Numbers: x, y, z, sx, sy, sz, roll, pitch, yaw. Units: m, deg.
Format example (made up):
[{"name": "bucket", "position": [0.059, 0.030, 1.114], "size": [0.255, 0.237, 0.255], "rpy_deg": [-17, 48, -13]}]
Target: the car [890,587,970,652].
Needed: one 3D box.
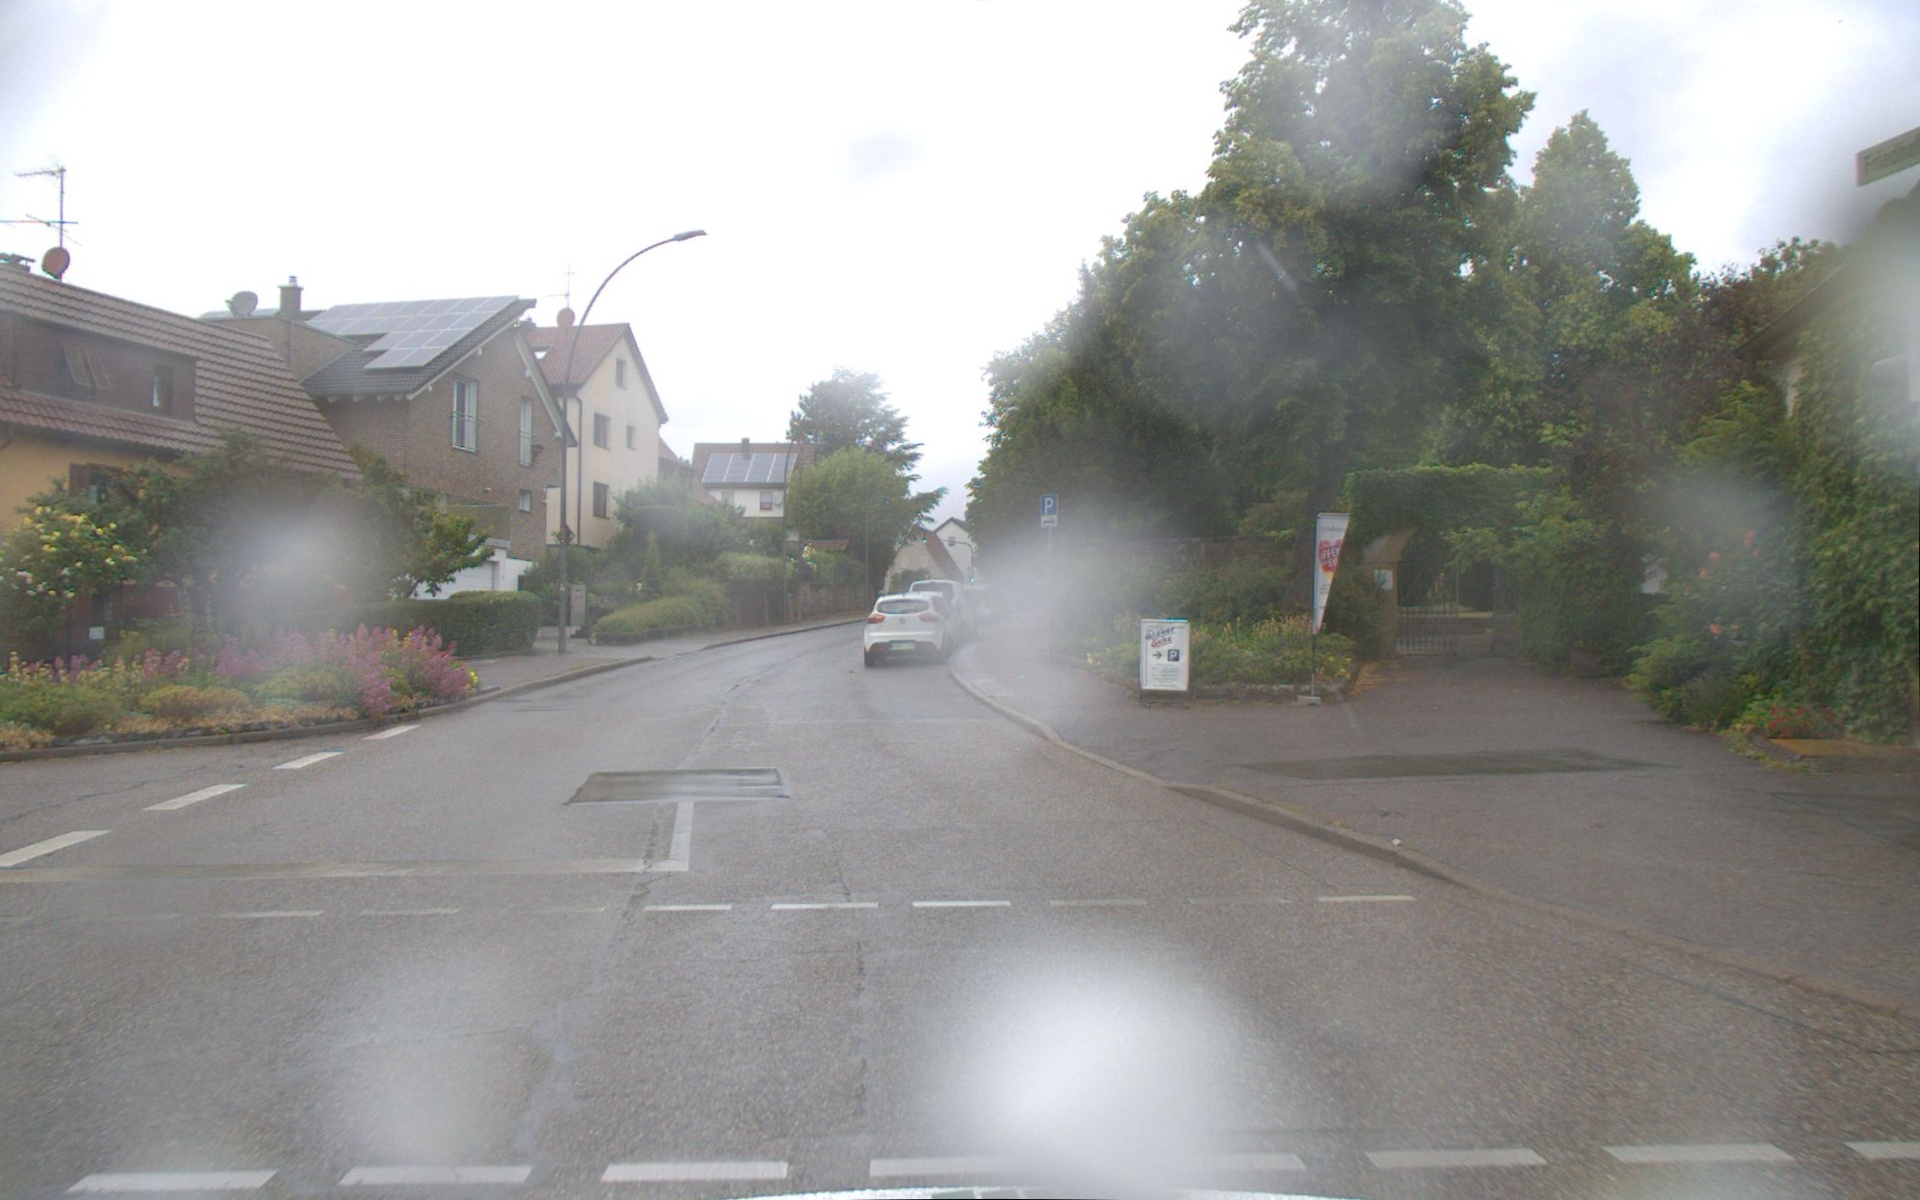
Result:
[{"name": "car", "position": [-0.693, 0.439, 41.220], "size": [1.611, 1.487, 4.003], "rpy_deg": [0, 1, 5]}]

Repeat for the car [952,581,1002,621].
[{"name": "car", "position": [0.735, 0.069, 68.800], "size": [1.776, 1.601, 3.882], "rpy_deg": [-1, 0, 5]}]

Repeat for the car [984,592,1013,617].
[{"name": "car", "position": [2.244, 0.246, 95.109], "size": [1.617, 1.395, 4.182], "rpy_deg": [-1, 0, 2]}]

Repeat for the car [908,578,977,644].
[{"name": "car", "position": [-0.459, 0.301, 47.153], "size": [1.603, 1.771, 4.138], "rpy_deg": [0, 0, 4]}]

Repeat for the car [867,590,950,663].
[{"name": "car", "position": [-1.082, 0.552, 36.239], "size": [1.578, 1.506, 4.039], "rpy_deg": [0, 0, 2]}]

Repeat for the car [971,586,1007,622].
[{"name": "car", "position": [1.455, 0.224, 81.425], "size": [1.706, 1.697, 4.498], "rpy_deg": [-1, 0, 2]}]

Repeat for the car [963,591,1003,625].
[{"name": "car", "position": [1.058, 0.366, 74.978], "size": [1.728, 1.472, 4.697], "rpy_deg": [-1, 0, 1]}]
